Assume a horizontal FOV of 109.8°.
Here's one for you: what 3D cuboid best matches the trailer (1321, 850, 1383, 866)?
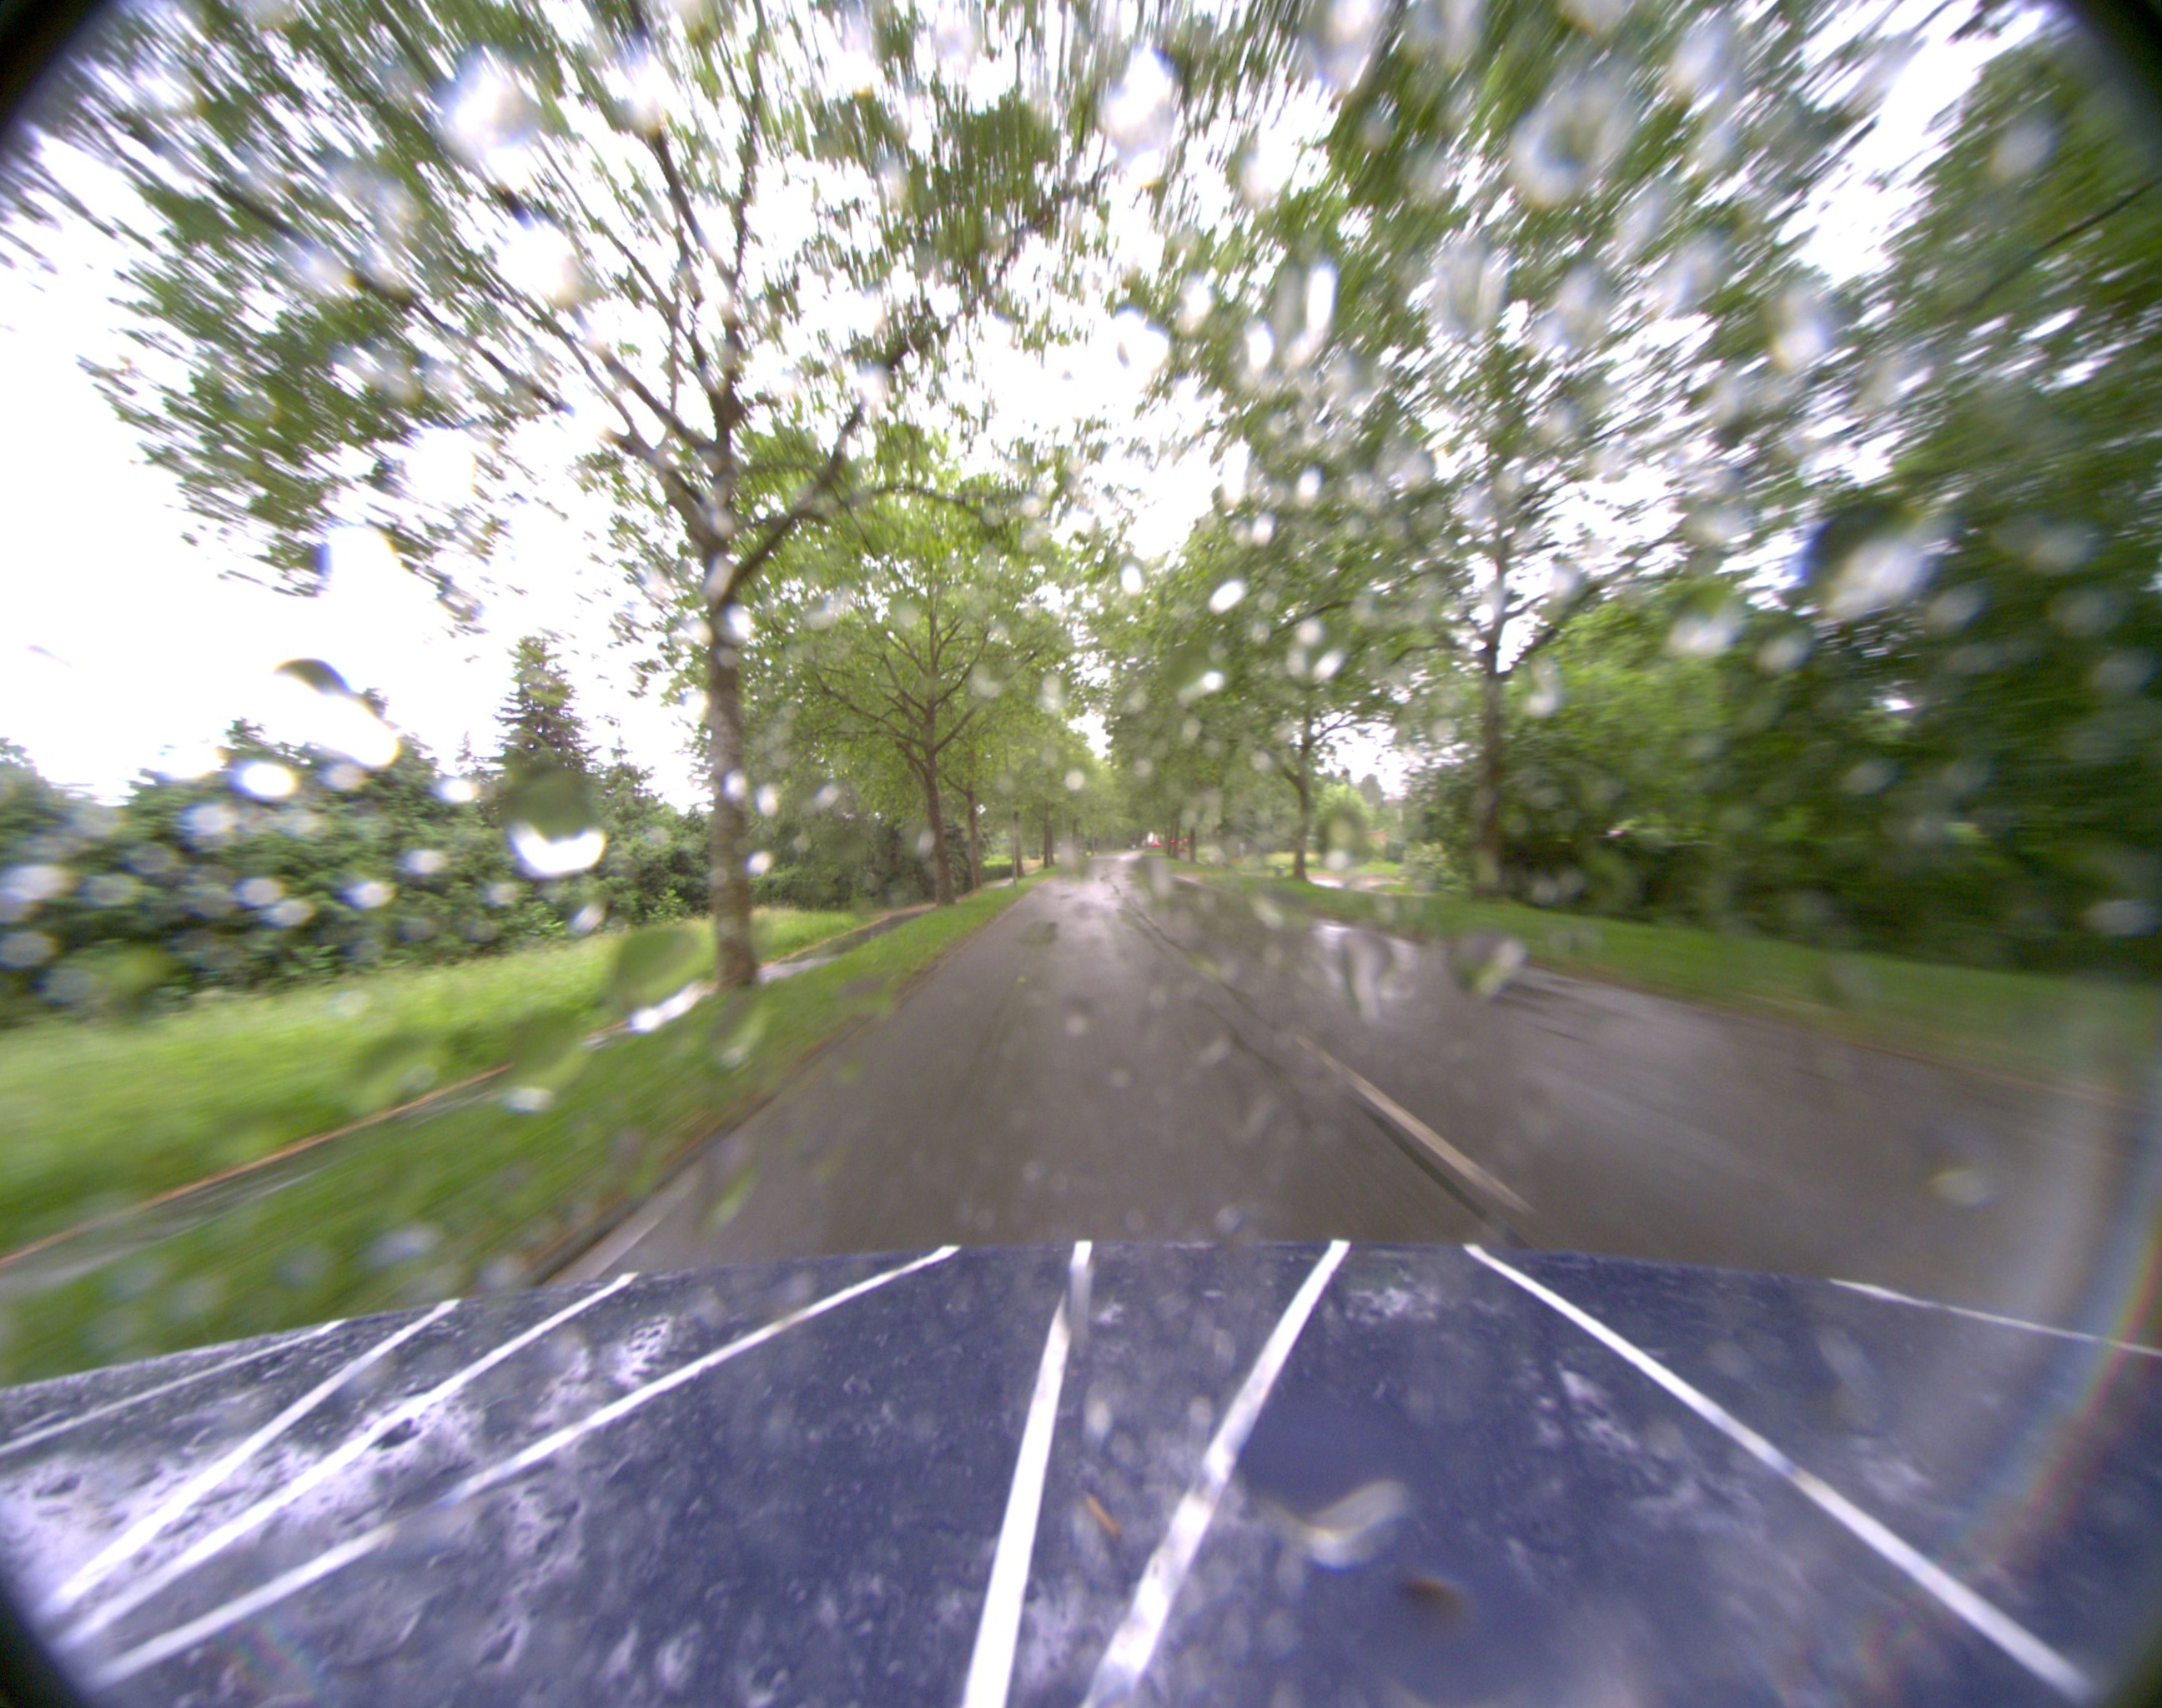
[{"bbox_3d":[22.646,0.331,63.543,4.327,1.026,2.382,-3,1,1],"label":"trailer"}]

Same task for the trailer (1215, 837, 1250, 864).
[{"bbox_3d":[16.271,-0.477,81.838,2.804,2.649,6.652,-2,1,4],"label":"trailer"}]

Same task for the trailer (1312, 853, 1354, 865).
[{"bbox_3d":[22.141,0.424,66.839,3.082,0.939,1.768,-2,2,2],"label":"trailer"}]

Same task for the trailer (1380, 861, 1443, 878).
[{"bbox_3d":[19.580,0.917,45.063,3.035,0.833,1.678,-3,2,5],"label":"trailer"}]

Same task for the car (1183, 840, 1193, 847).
[{"bbox_3d":[27.195,-2.745,193.176,1.896,1.673,4.004,-2,2,17],"label":"car"}]

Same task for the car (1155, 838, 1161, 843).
[{"bbox_3d":[23.505,-4.159,231.856,1.593,1.445,3.373,-2,1,3],"label":"car"}]
